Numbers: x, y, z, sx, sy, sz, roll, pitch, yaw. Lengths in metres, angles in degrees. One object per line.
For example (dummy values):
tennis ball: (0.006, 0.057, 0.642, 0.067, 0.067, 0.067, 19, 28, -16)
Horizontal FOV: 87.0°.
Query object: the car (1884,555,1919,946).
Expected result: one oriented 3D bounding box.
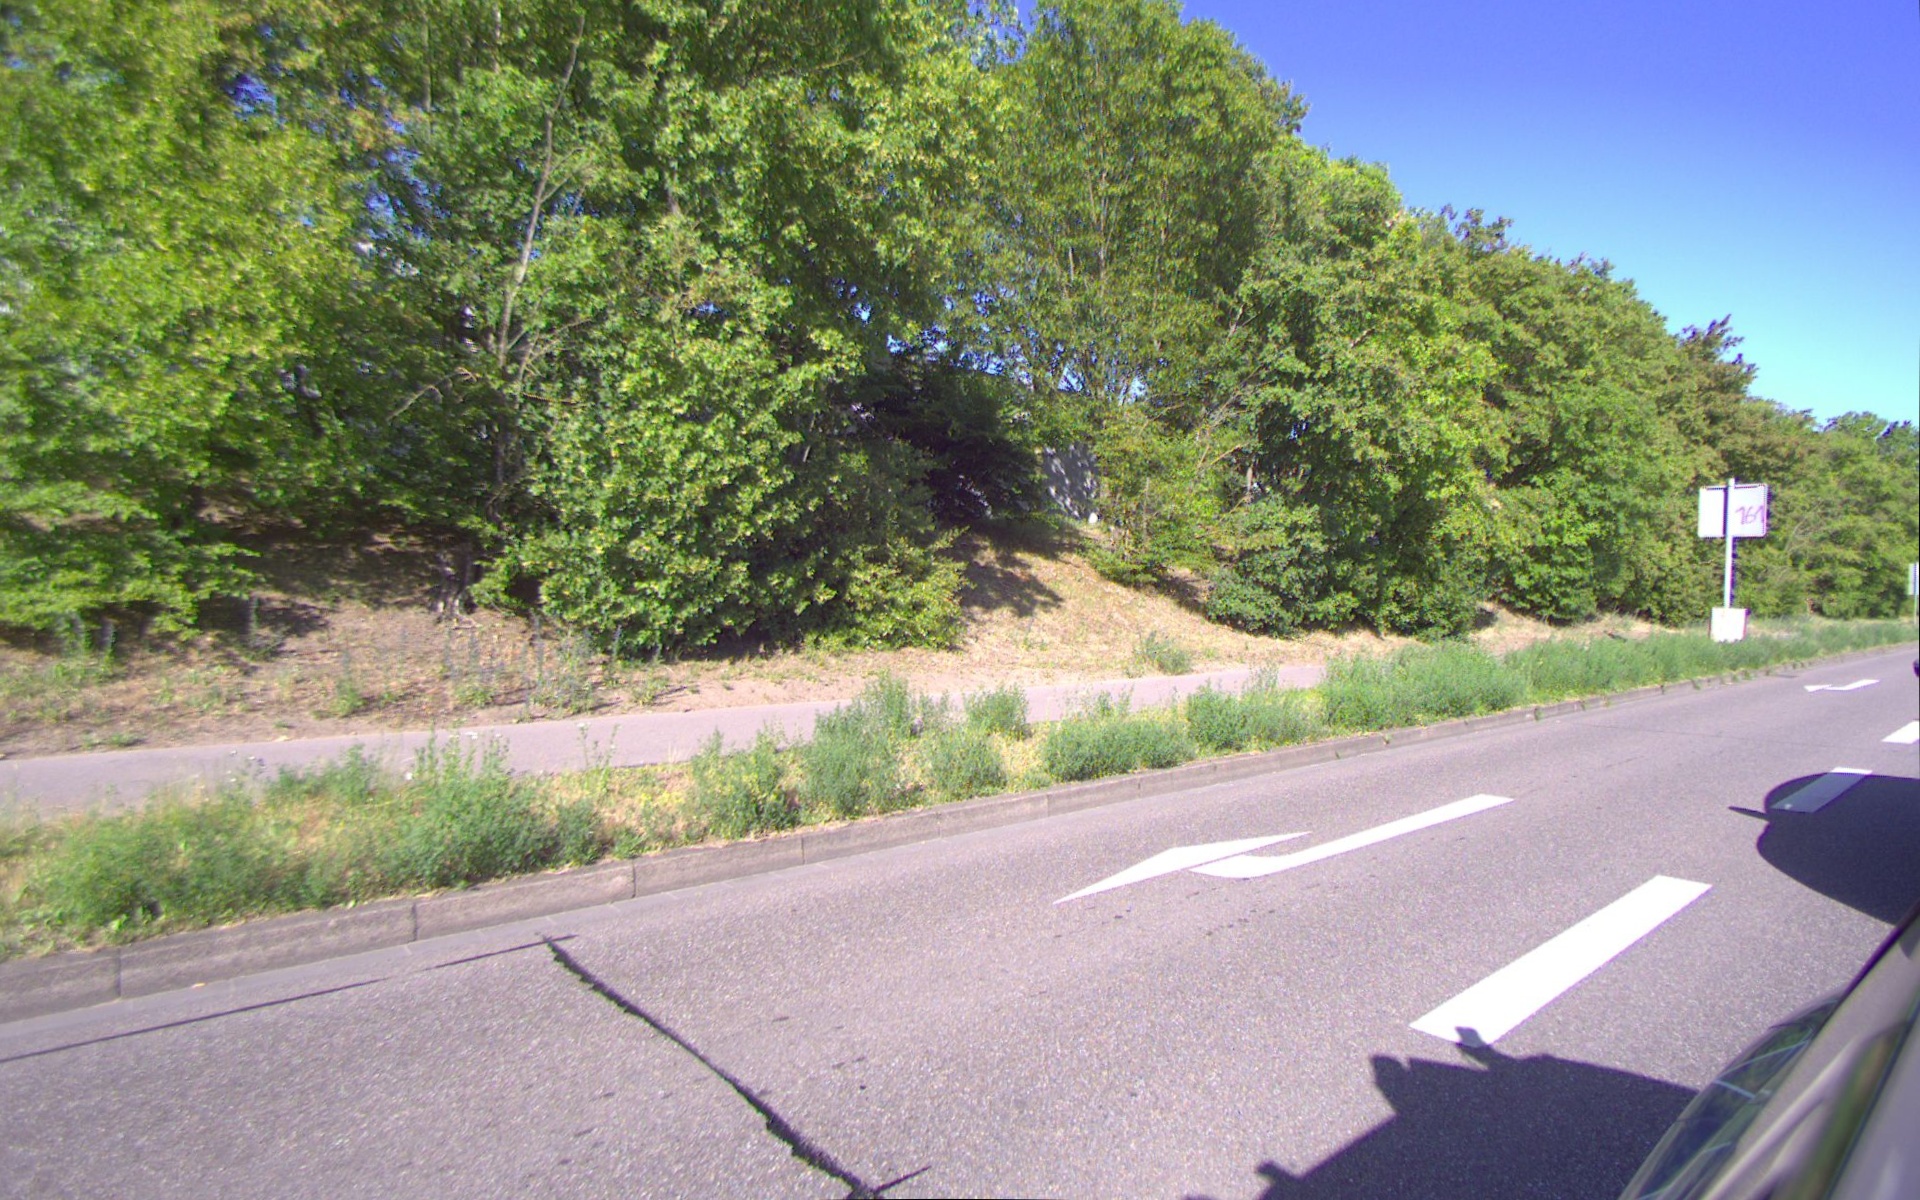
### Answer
car: (6.111, 0.635, 4.859, 4.026, 1.631, 2.023, 0, 0, -41)
